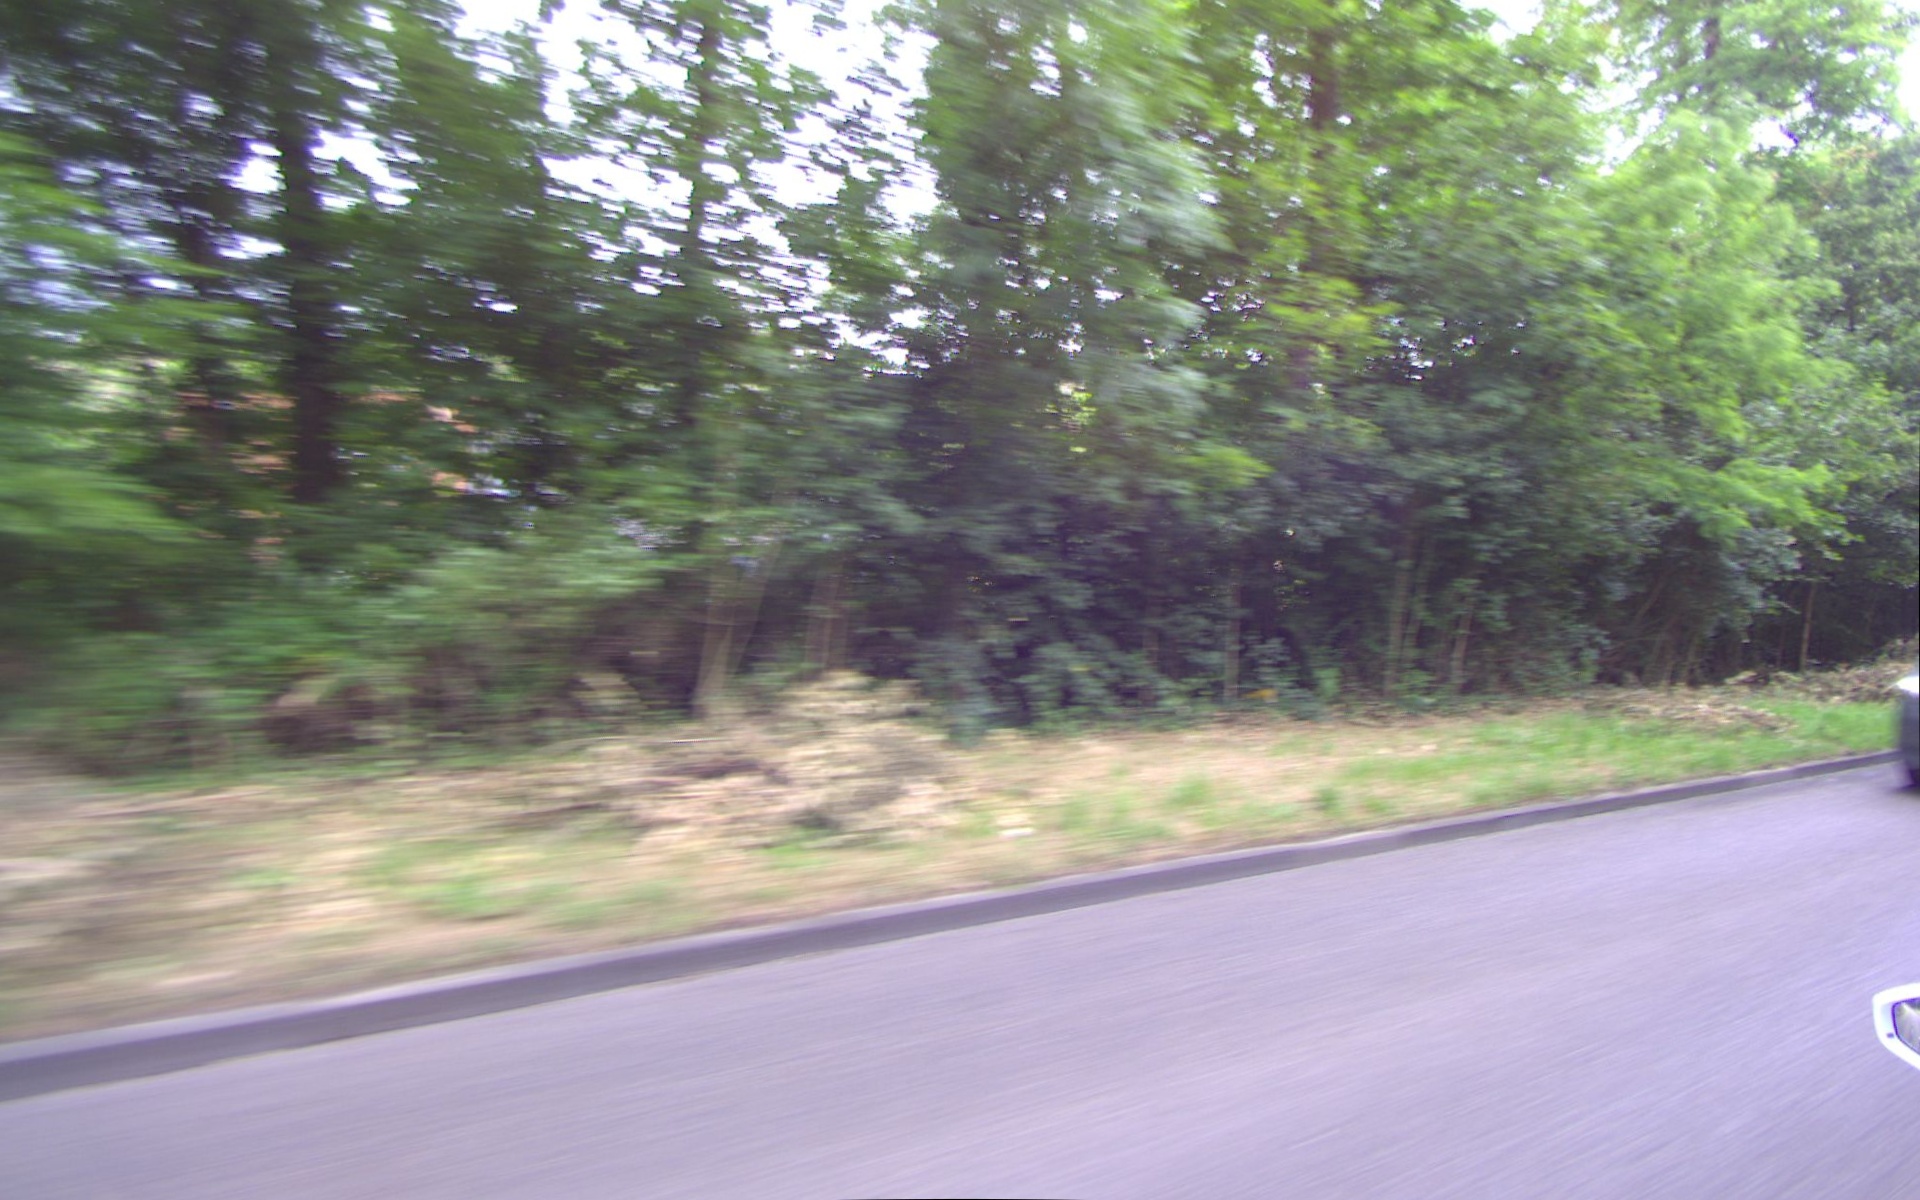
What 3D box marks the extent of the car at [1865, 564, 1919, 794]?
[{"bbox_3d":[10.651,0.747,9.379,4.891,1.974,1.982,2,0,-32],"label":"car"}]
